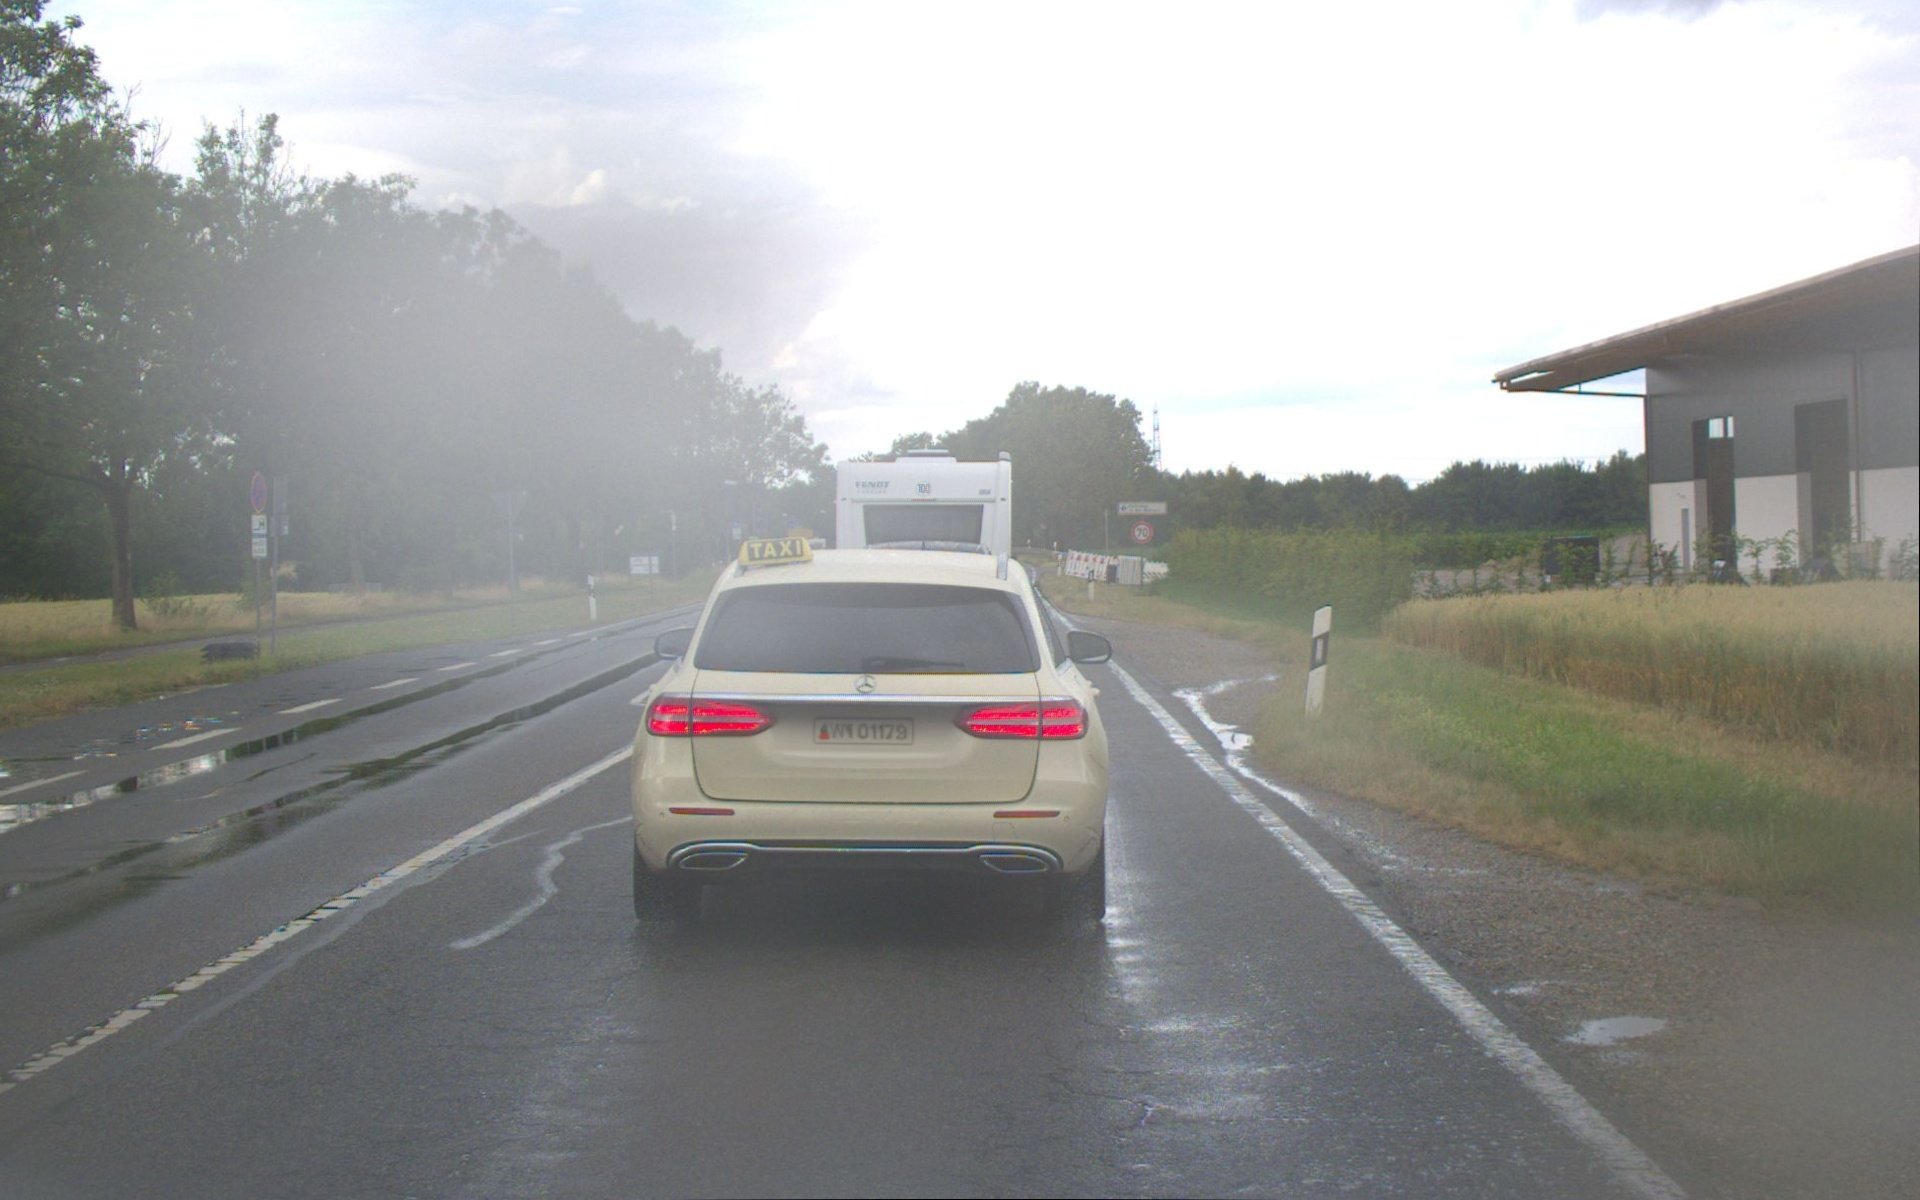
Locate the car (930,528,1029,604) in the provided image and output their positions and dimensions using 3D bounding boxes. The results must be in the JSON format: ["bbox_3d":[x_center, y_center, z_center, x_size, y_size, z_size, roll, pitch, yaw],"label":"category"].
[{"bbox_3d":[0.454,-0.745,74.205,1.894,1.585,3.927,0,1,4],"label":"car"}]

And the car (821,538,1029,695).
[{"bbox_3d":[-0.337,0.120,33.489,1.894,1.424,3.928,0,1,0],"label":"car"}]

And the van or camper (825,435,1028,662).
[{"bbox_3d":[-0.375,-0.709,46.885,2.497,2.821,5.934,-2,1,1],"label":"van or camper"}]

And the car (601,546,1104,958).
[{"bbox_3d":[-0.370,0.514,14.344,1.797,1.459,4.031,0,1,0],"label":"car"}]
